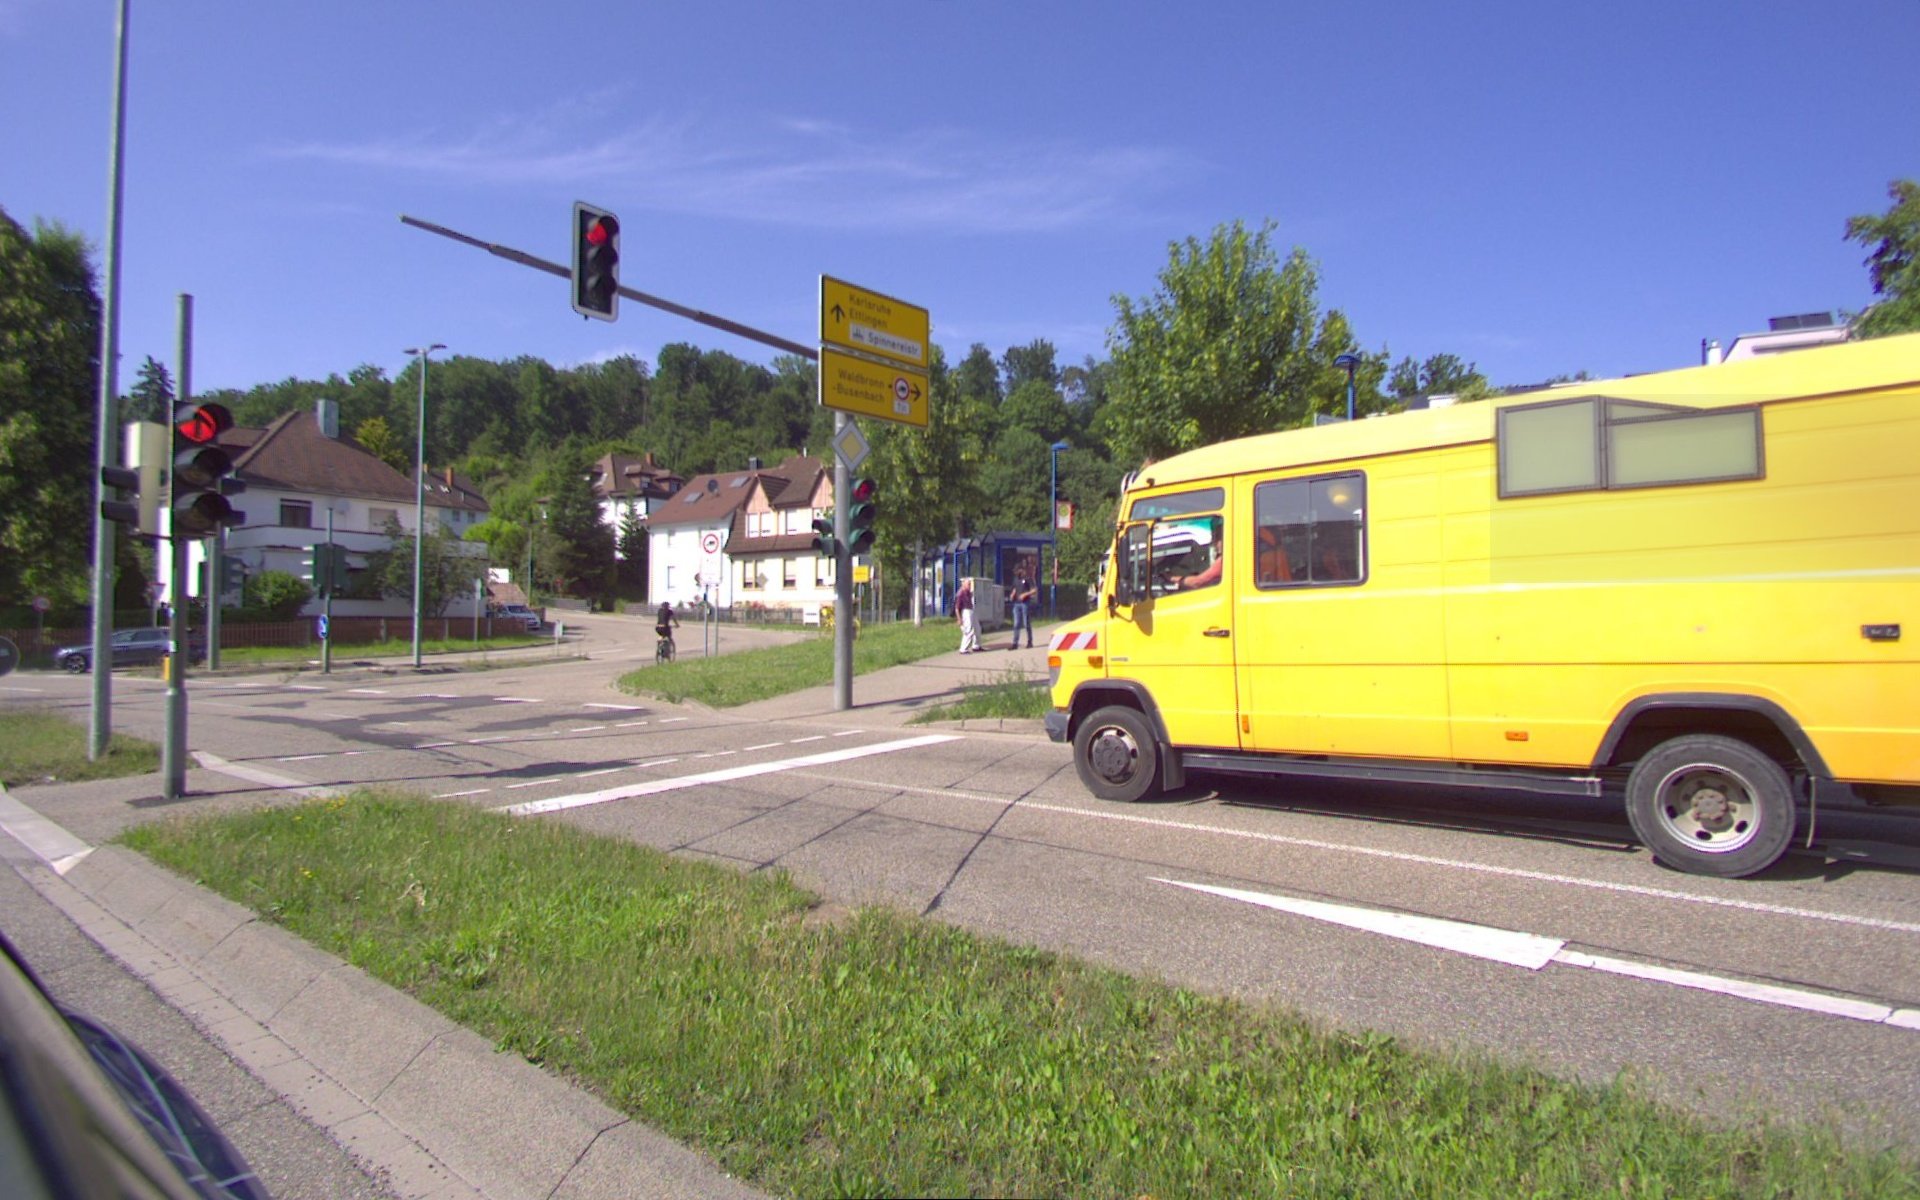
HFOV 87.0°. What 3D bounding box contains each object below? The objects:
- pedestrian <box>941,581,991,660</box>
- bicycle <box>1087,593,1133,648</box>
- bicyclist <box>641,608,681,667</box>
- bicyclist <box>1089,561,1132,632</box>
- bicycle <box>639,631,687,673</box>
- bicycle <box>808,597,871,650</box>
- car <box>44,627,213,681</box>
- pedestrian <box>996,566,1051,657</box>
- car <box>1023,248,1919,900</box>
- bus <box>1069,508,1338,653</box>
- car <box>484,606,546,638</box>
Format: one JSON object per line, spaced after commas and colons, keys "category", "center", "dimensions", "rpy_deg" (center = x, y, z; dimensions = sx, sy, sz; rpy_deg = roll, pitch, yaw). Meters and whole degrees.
{"category": "pedestrian", "center": [0.130, 0.443, 22.112], "dimensions": [0.740, 1.690, 0.704], "rpy_deg": [-3, -1, 39]}
{"category": "bicycle", "center": [3.489, 0.448, 23.403], "dimensions": [0.729, 1.072, 1.962], "rpy_deg": [-3, 3, 17]}
{"category": "bicyclist", "center": [-9.072, 1.121, 30.733], "dimensions": [0.796, 1.704, 0.992], "rpy_deg": [-3, -1, 4]}
{"category": "bicyclist", "center": [3.509, -0.081, 23.513], "dimensions": [0.800, 1.576, 0.952], "rpy_deg": [-2, 0, 17]}
{"category": "bicycle", "center": [-9.050, 1.571, 30.883], "dimensions": [0.725, 1.171, 1.997], "rpy_deg": [-3, -1, 3]}
{"category": "bicycle", "center": [-3.244, 0.635, 27.076], "dimensions": [1.757, 1.264, 0.611], "rpy_deg": [-6, 0, 45]}
{"category": "car", "center": [-28.106, 1.797, 34.376], "dimensions": [3.932, 1.519, 2.006], "rpy_deg": [-3, -1, -17]}
{"category": "pedestrian", "center": [1.403, 0.243, 22.240], "dimensions": [0.856, 1.922, 0.732], "rpy_deg": [-2, 2, 38]}
{"category": "car", "center": [3.775, -0.097, 6.900], "dimensions": [6.461, 3.033, 2.442], "rpy_deg": [-2, 0, 40]}
{"category": "bus", "center": [7.172, -0.424, 32.866], "dimensions": [2.821, 3.742, 12.252], "rpy_deg": [-3, -1, -15]}
{"category": "car", "center": [-25.653, 1.294, 58.294], "dimensions": [4.002, 1.649, 1.912], "rpy_deg": [-3, -1, 45]}
